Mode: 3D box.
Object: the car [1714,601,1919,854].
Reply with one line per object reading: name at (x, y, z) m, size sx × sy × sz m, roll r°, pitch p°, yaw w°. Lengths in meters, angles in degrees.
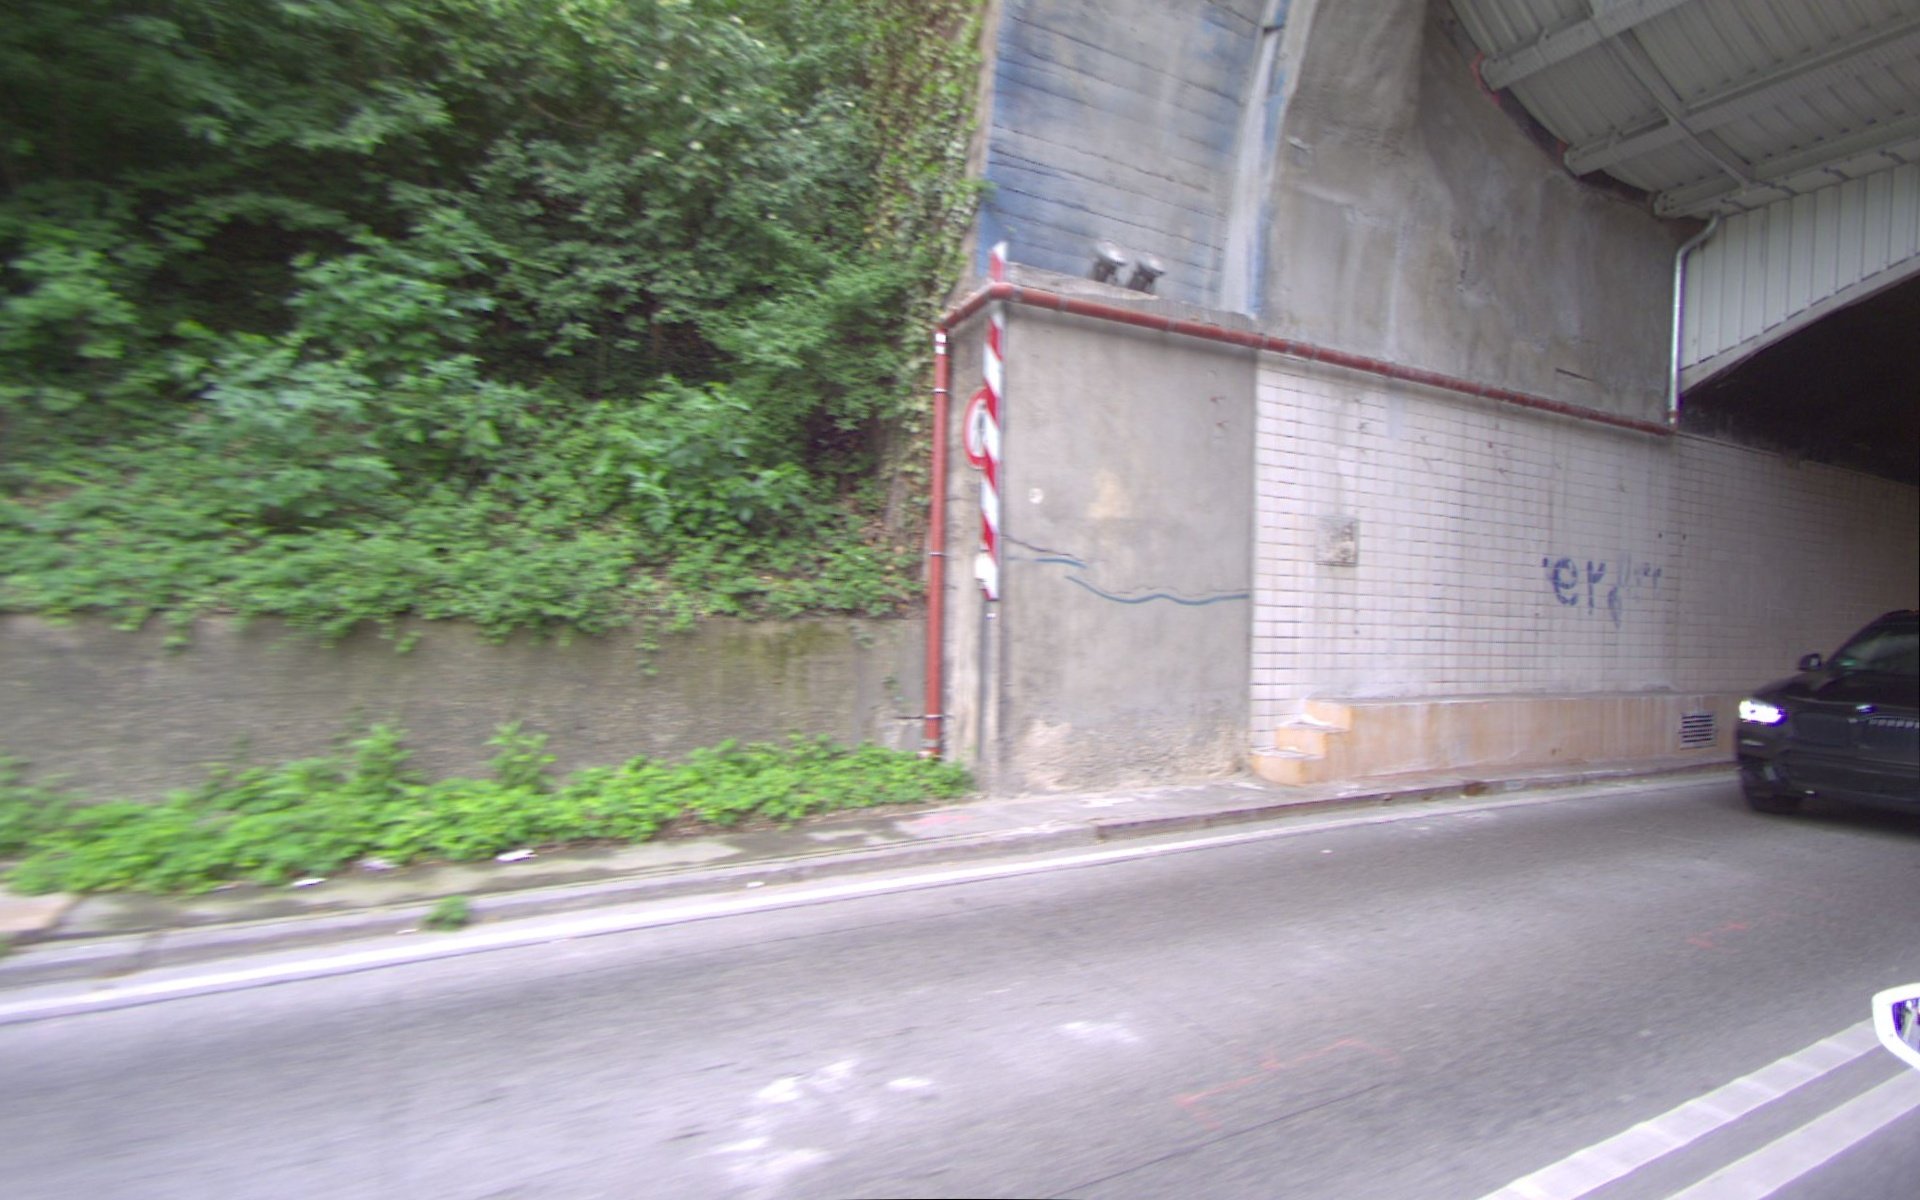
car at (8.202, 0.926, 8.073) m, size 4.325 × 1.698 × 1.870 m, roll 2°, pitch -1°, yaw -30°
